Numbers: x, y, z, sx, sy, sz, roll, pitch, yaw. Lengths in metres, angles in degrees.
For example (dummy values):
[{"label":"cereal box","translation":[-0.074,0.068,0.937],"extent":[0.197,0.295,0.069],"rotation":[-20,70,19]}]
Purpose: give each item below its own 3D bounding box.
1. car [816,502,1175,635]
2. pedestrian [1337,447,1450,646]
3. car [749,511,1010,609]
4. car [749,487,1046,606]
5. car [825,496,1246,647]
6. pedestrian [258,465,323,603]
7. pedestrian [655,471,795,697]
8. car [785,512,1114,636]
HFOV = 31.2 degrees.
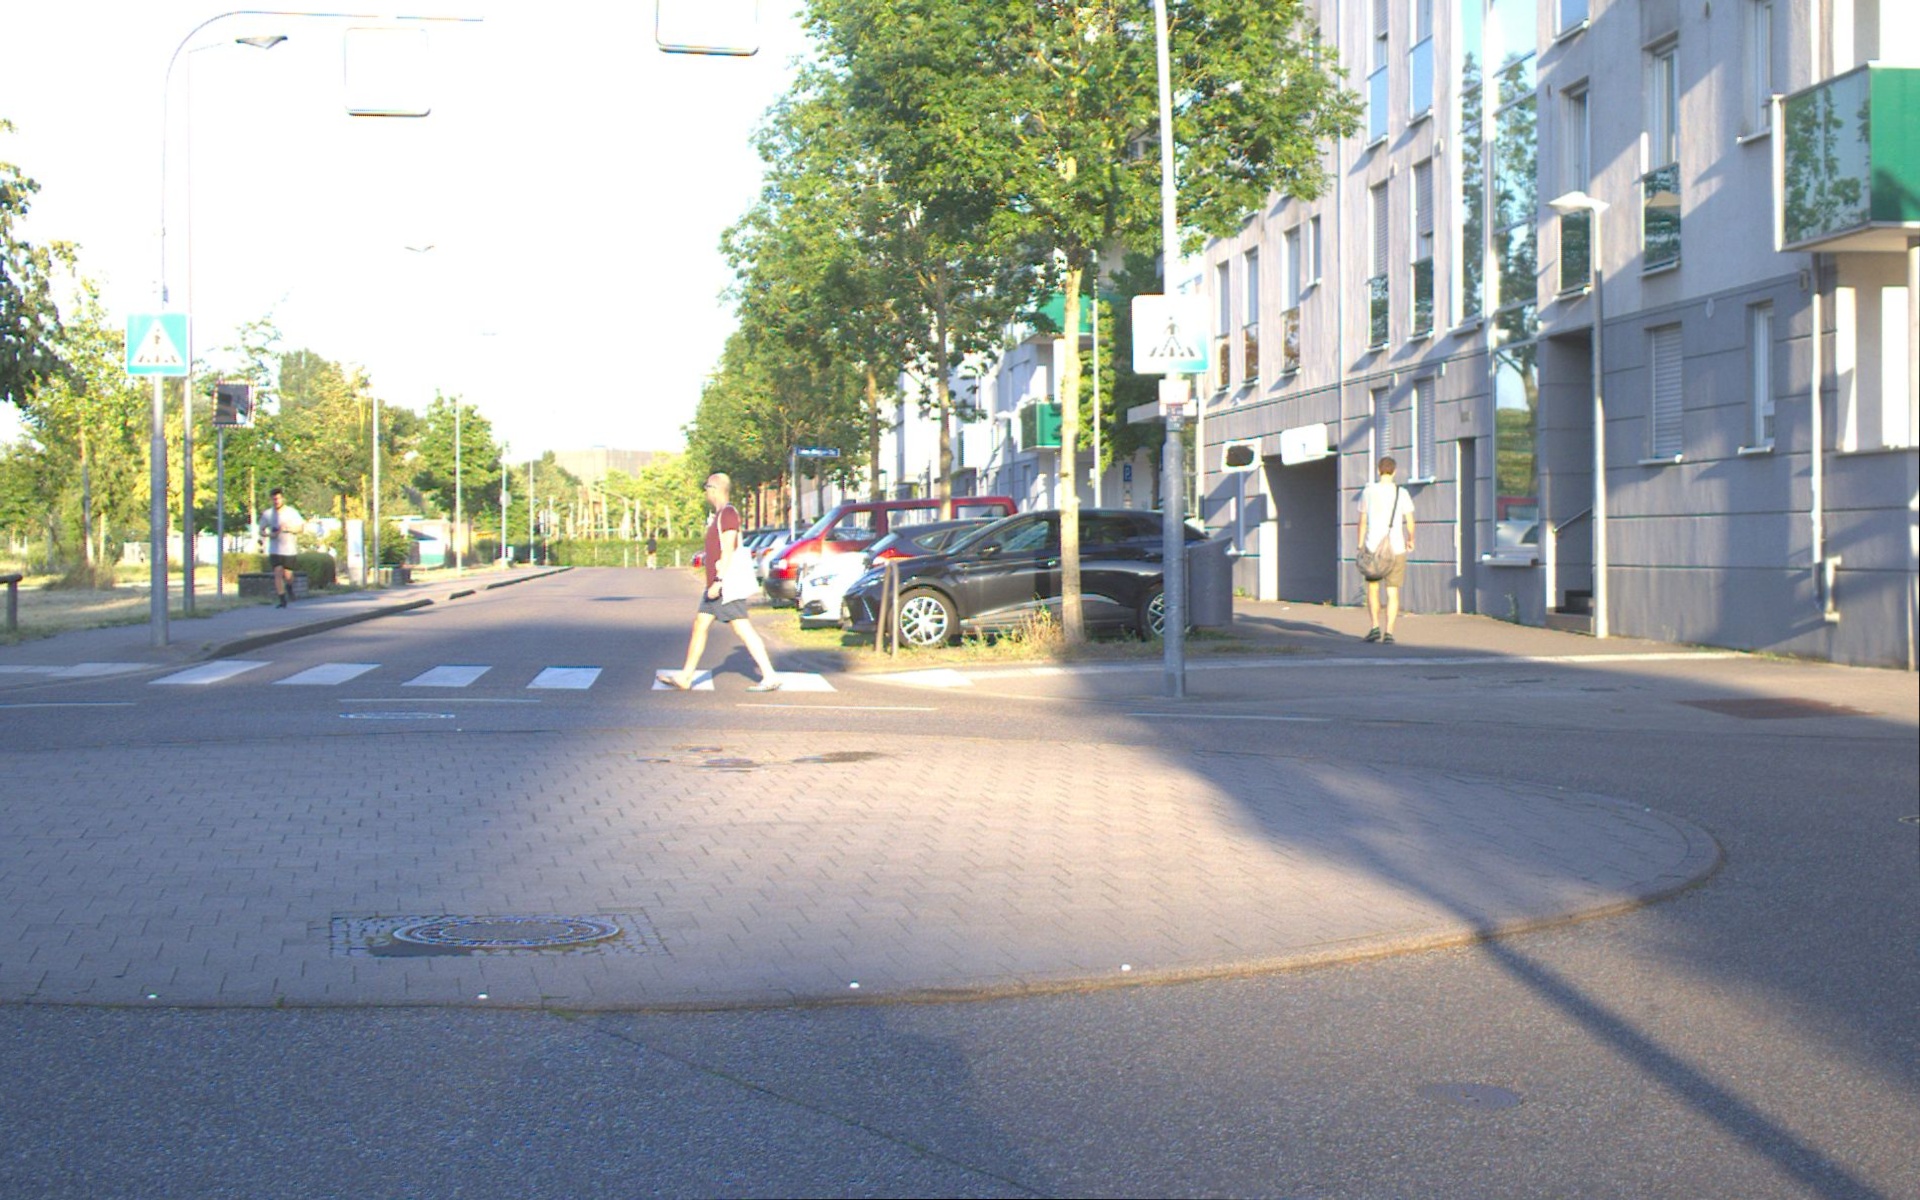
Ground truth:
[{"label":"car","translation":[0.399,-0.408,43.089],"extent":[4.354,1.590,2.000],"rotation":[0,1,-3]},{"label":"pedestrian","translation":[4.417,-0.549,35.074],"extent":[0.940,2.007,0.849],"rotation":[0,1,-9]},{"label":"car","translation":[-1.383,-0.682,57.945],"extent":[4.263,1.590,2.000],"rotation":[0,1,-5]},{"label":"car","translation":[-1.144,-0.955,61.012],"extent":[5.002,2.038,2.251],"rotation":[-1,1,-9]},{"label":"car","translation":[0.781,-0.332,37.905],"extent":[4.484,1.590,2.000],"rotation":[0,1,-3]},{"label":"pedestrian","translation":[-9.852,-0.972,50.584],"extent":[0.866,2.007,0.790],"rotation":[-1,1,-15]},{"label":"pedestrian","translation":[-1.897,-0.132,27.656],"extent":[1.003,1.782,0.762],"rotation":[1,1,-11]},{"label":"car","translation":[-0.179,-0.361,45.790],"extent":[4.263,1.590,2.000],"rotation":[0,1,-3]}]
